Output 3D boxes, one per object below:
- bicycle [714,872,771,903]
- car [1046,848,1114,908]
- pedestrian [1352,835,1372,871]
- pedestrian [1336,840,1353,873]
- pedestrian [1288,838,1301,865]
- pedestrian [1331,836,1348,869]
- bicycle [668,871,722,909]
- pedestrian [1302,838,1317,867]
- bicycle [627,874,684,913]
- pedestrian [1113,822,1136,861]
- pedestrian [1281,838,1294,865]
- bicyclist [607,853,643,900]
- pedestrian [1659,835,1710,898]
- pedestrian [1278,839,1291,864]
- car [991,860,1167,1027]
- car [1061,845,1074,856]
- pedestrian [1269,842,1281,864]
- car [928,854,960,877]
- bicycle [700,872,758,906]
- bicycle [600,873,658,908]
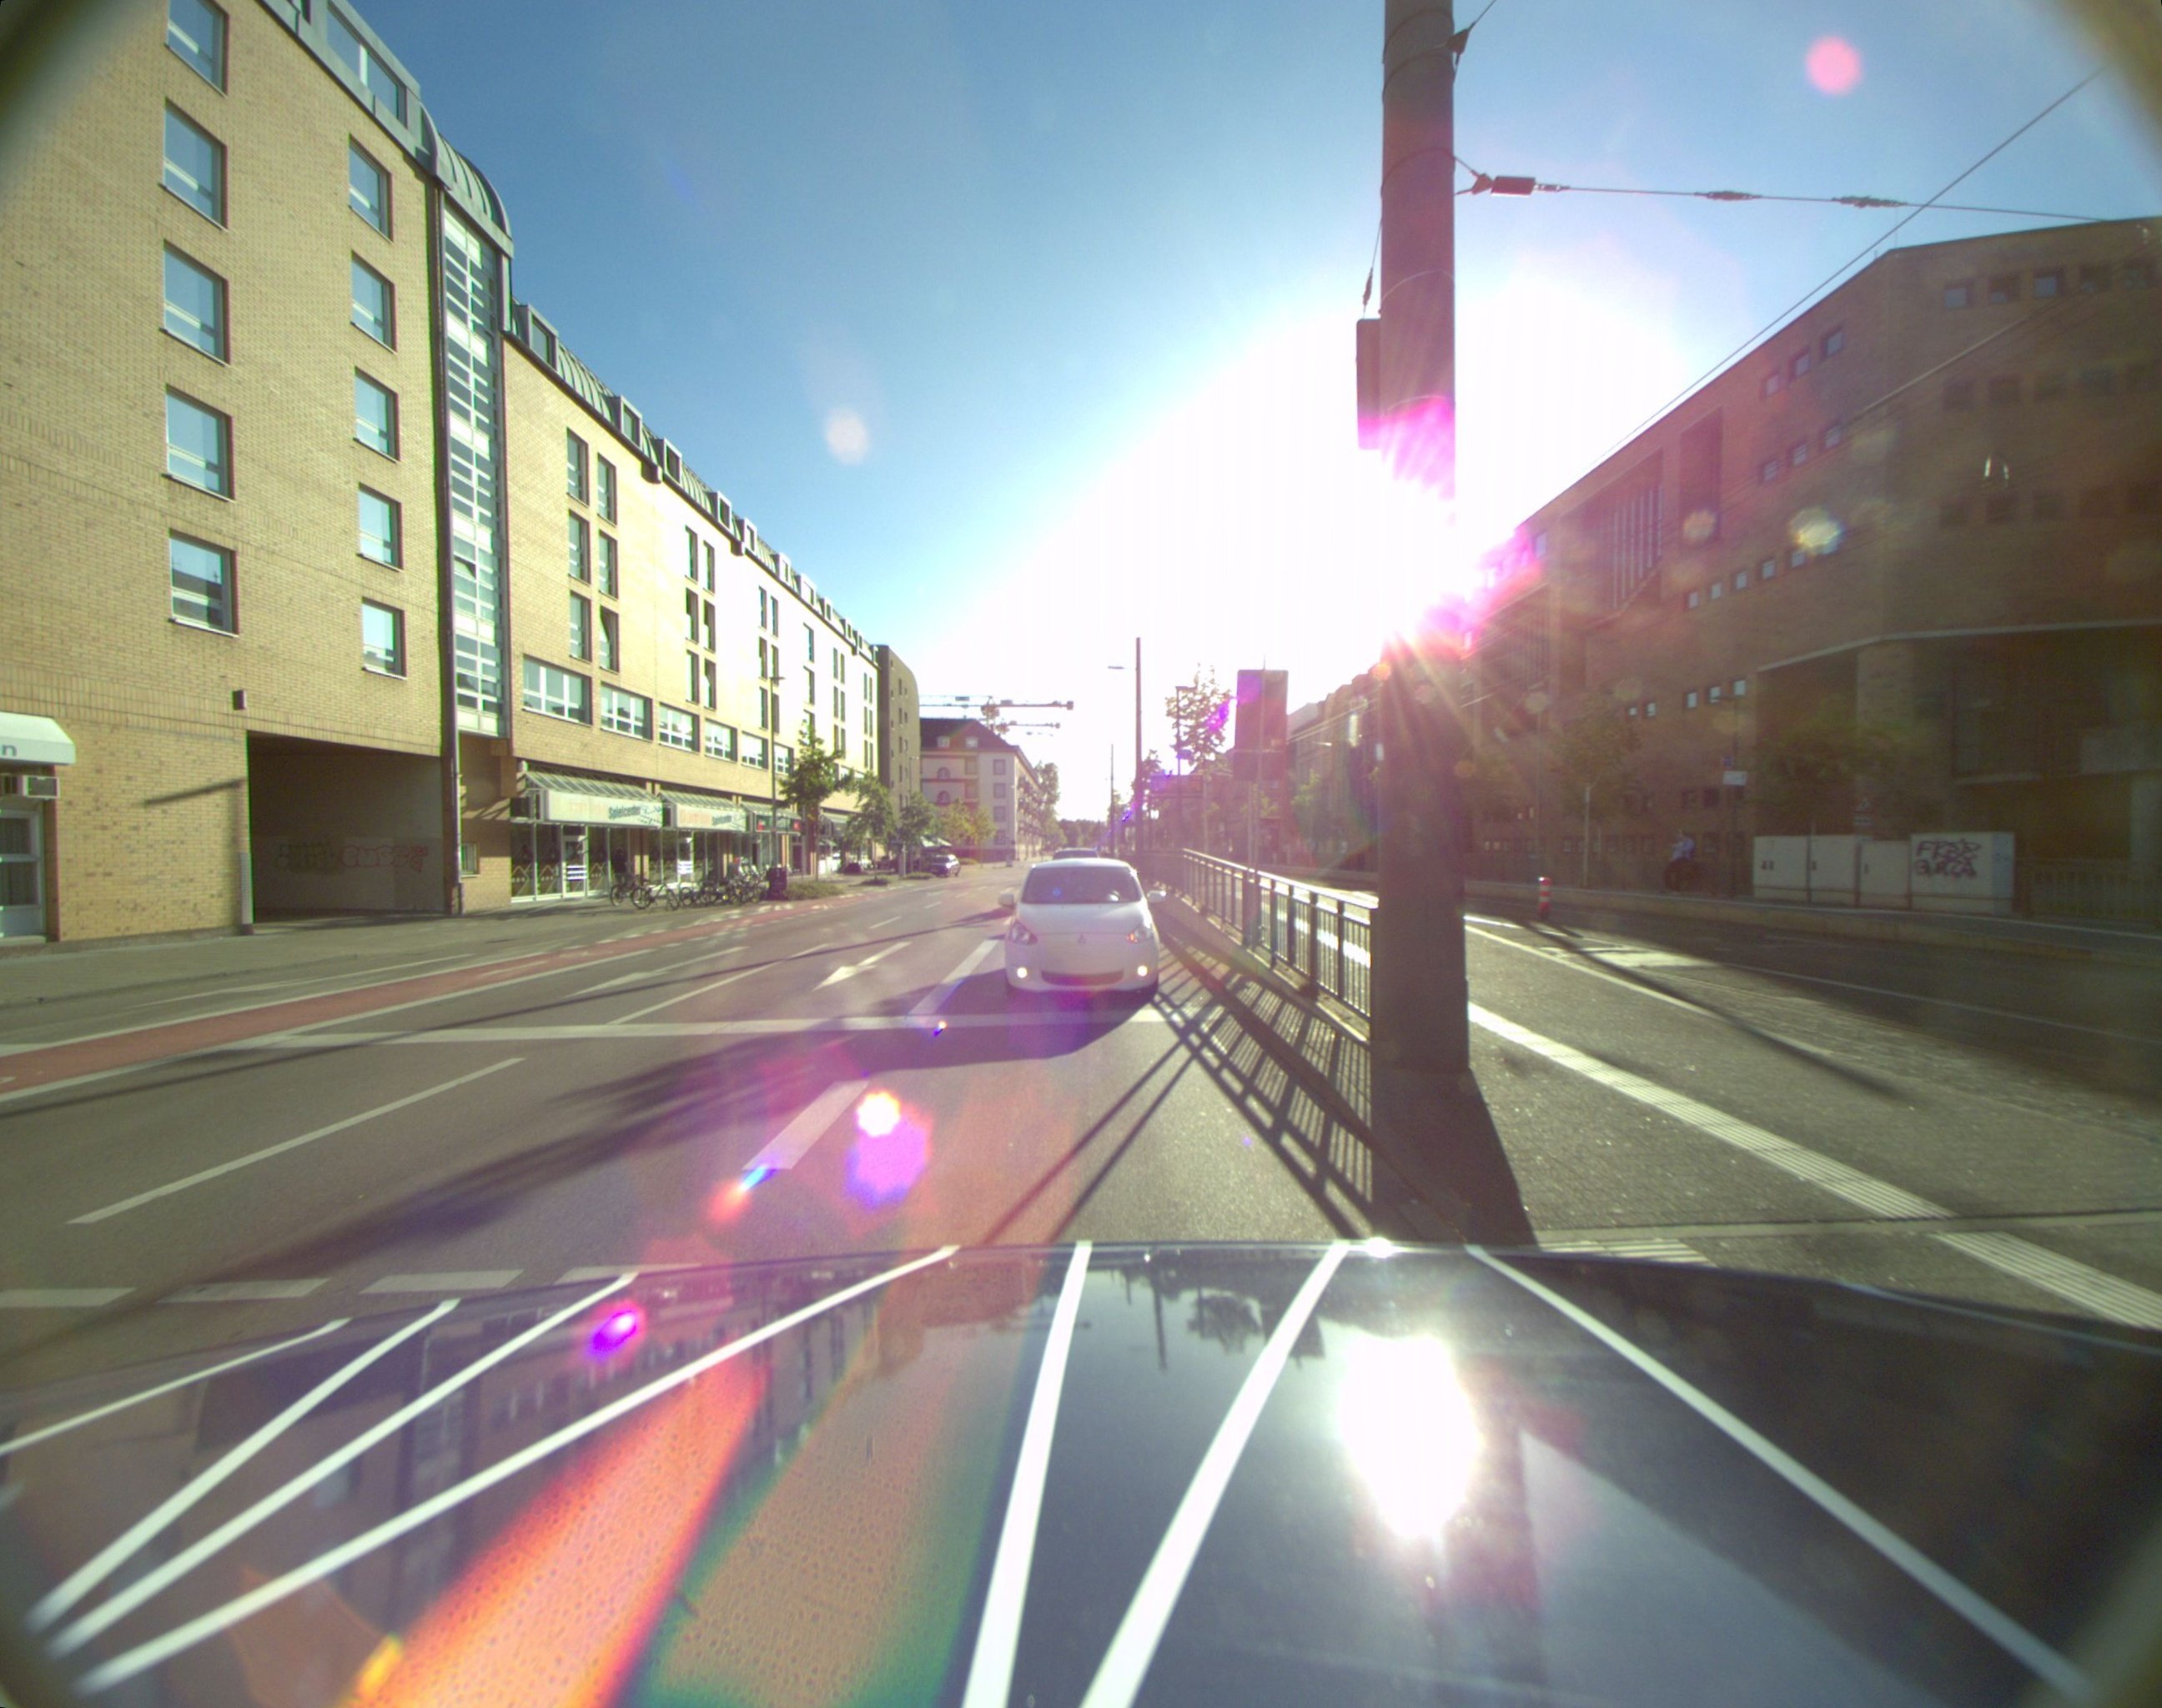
[{"bbox_3d":[-12.396,1.229,27.866,1.774,1.065,0.737,1,2,3],"label":"bicycle"},{"bbox_3d":[-0.022,0.676,24.371,1.955,1.652,4.354,-2,1,0],"label":"car"},{"bbox_3d":[13.468,-0.045,36.433,0.692,1.732,0.586,0,1,-3],"label":"pedestrian"},{"bbox_3d":[13.960,0.124,40.320,0.692,1.732,0.586,0,1,-3],"label":"pedestrian"},{"bbox_3d":[13.794,-0.140,49.146,0.692,1.732,0.586,0,1,-3],"label":"pedestrian"},{"bbox_3d":[13.937,-0.073,40.957,0.692,1.732,0.586,0,1,-3],"label":"pedestrian"},{"bbox_3d":[-12.899,1.194,25.387,1.771,1.142,0.554,2,3,21],"label":"bicycle"},{"bbox_3d":[13.980,-0.100,46.499,0.692,1.732,0.586,0,1,-3],"label":"pedestrian"},{"bbox_3d":[-13.443,1.234,24.012,1.771,1.142,0.554,2,3,21],"label":"bicycle"},{"bbox_3d":[2.249,-0.660,39.325,0.881,2.002,0.783,-1,1,-27],"label":"pedestrian"},{"bbox_3d":[13.744,-0.165,50.693,0.692,1.732,0.586,0,1,-3],"label":"pedestrian"},{"bbox_3d":[-15.214,0.740,25.367,0.580,1.506,0.850,4,0,6],"label":"bicyclist"},{"bbox_3d":[14.735,0.295,18.568,0.701,1.526,0.654,0,1,-3],"label":"pedestrian"},{"bbox_3d":[13.917,-0.165,52.004,0.692,1.732,0.586,0,1,-3],"label":"pedestrian"},{"bbox_3d":[-0.016,0.874,9.378,1.640,1.458,4.185,-2,1,0],"label":"car"},{"bbox_3d":[-2.020,-0.547,112.077,1.829,1.644,3.682,0,0,0],"label":"car"},{"bbox_3d":[13.912,-0.099,54.628,0.692,1.566,0.586,0,1,-3],"label":"pedestrian"},{"bbox_3d":[-10.261,0.841,57.281,1.655,1.521,3.692,-2,1,1],"label":"car"},{"bbox_3d":[-12.342,1.221,26.636,1.774,1.135,0.553,1,2,2],"label":"bicycle"},{"bbox_3d":[-15.204,1.203,25.622,0.602,1.044,1.882,4,1,6],"label":"bicycle"}]
